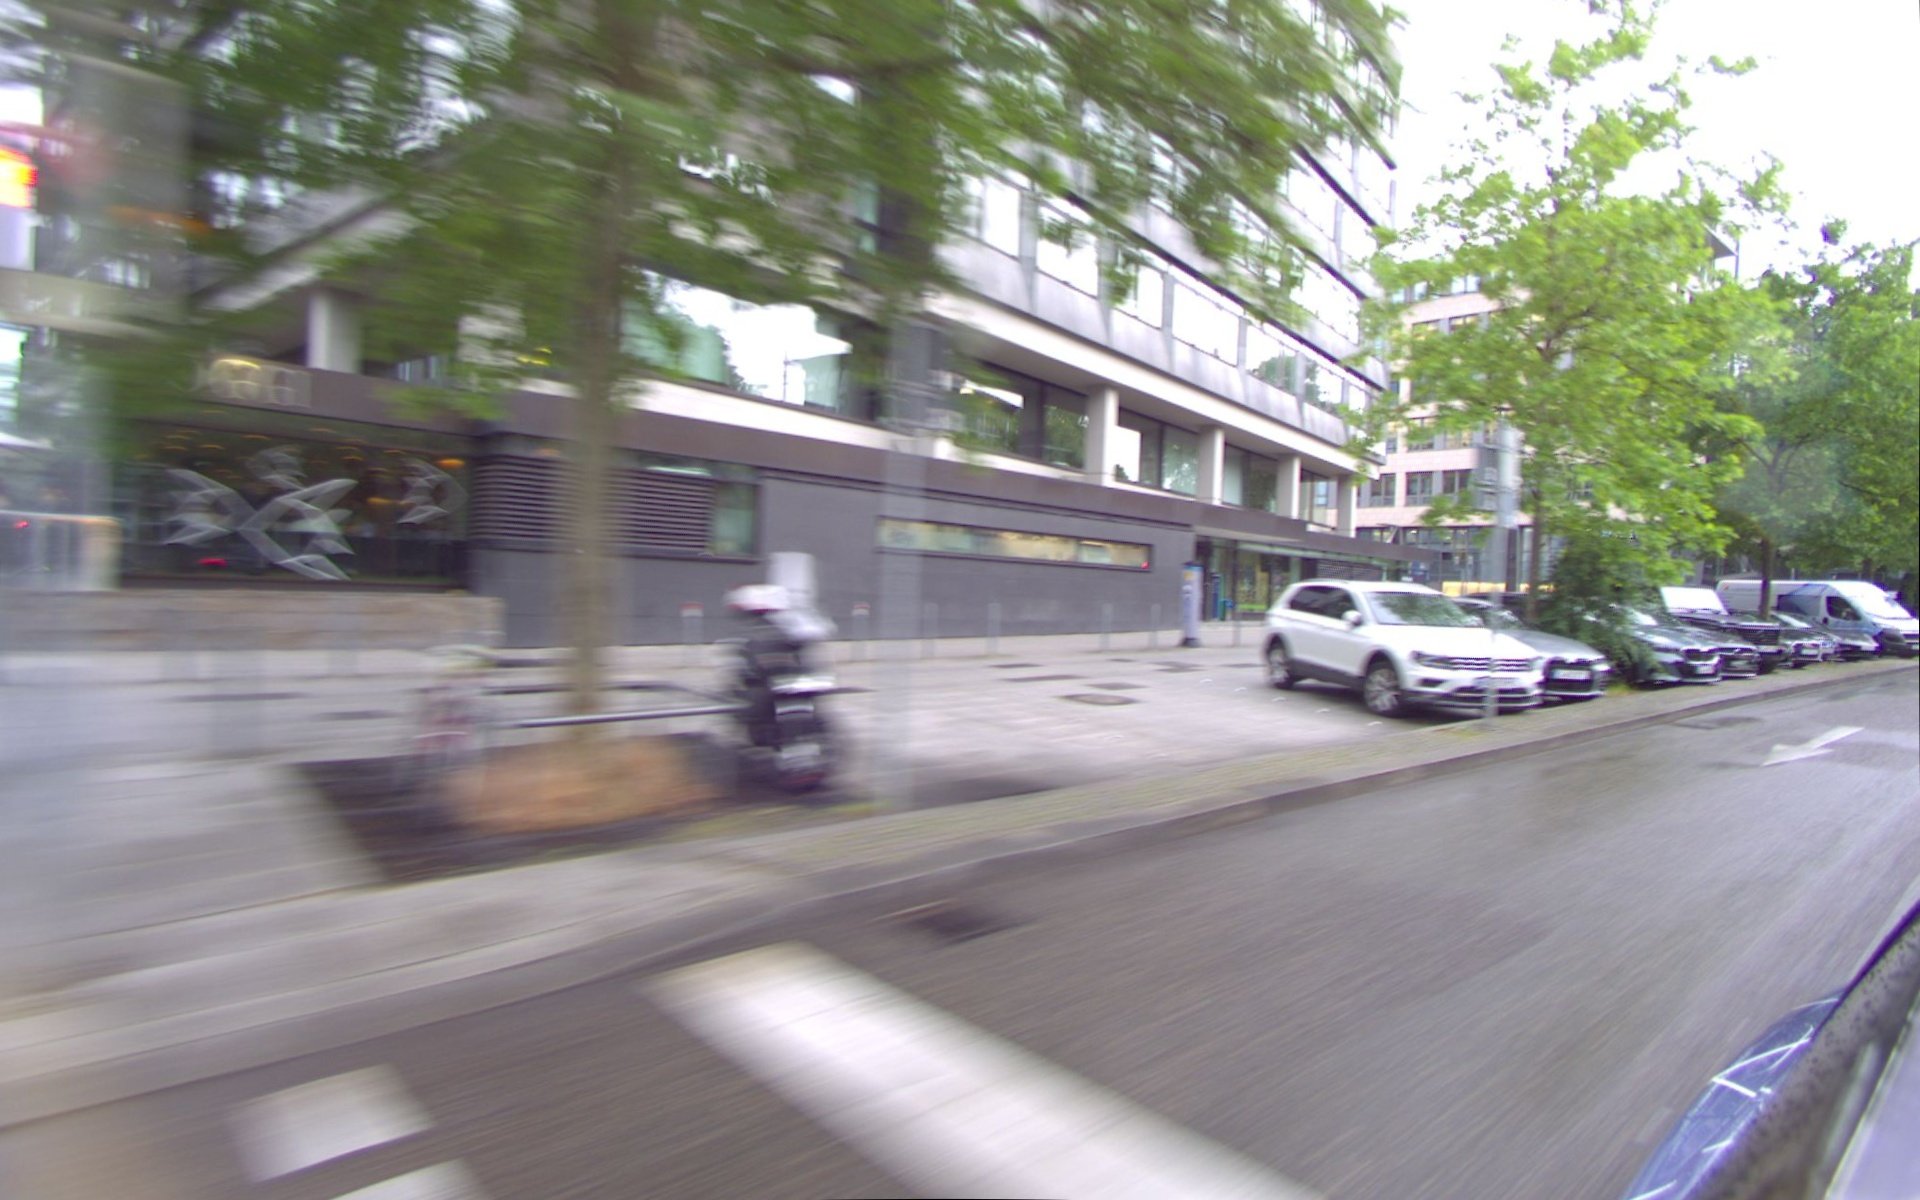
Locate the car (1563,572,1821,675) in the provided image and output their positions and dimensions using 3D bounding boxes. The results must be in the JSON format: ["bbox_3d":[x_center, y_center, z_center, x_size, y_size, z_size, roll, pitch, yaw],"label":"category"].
[{"bbox_3d":[15.978,0.440,22.447,1.882,2.018,4.527,1,1,-11],"label":"car"}]

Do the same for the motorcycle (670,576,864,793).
[{"bbox_3d":[-1.504,0.524,7.539,0.664,1.374,2.091,1,1,-32],"label":"motorcycle"}]

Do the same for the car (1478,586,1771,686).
[{"bbox_3d":[11.937,0.571,18.593,1.876,1.557,4.367,1,1,-13],"label":"car"}]

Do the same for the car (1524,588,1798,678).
[{"bbox_3d":[13.921,0.585,20.486,1.876,1.557,4.400,1,1,-13],"label":"car"}]

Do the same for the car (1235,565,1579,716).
[{"bbox_3d":[5.725,0.421,13.810,1.877,1.671,4.813,2,1,-10],"label":"car"}]

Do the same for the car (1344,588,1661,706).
[{"bbox_3d":[8.120,0.604,15.791,1.877,1.492,4.731,2,1,-8],"label":"car"}]

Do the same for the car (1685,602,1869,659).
[{"bbox_3d":[23.903,0.845,29.811,1.673,1.442,4.069,1,1,-11],"label":"car"}]

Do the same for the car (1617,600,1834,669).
[{"bbox_3d":[18.373,0.779,24.562,1.700,1.442,4.069,1,1,-11],"label":"car"}]

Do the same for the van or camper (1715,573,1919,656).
[{"bbox_3d":[28.760,0.403,33.368,2.267,2.478,6.277,2,1,-10],"label":"van or camper"}]

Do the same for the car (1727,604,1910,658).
[{"bbox_3d":[26.081,0.899,30.941,1.673,1.442,4.069,1,1,-11],"label":"car"}]

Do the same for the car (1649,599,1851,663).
[{"bbox_3d":[20.443,0.754,26.422,1.673,1.442,4.021,1,1,-11],"label":"car"}]
